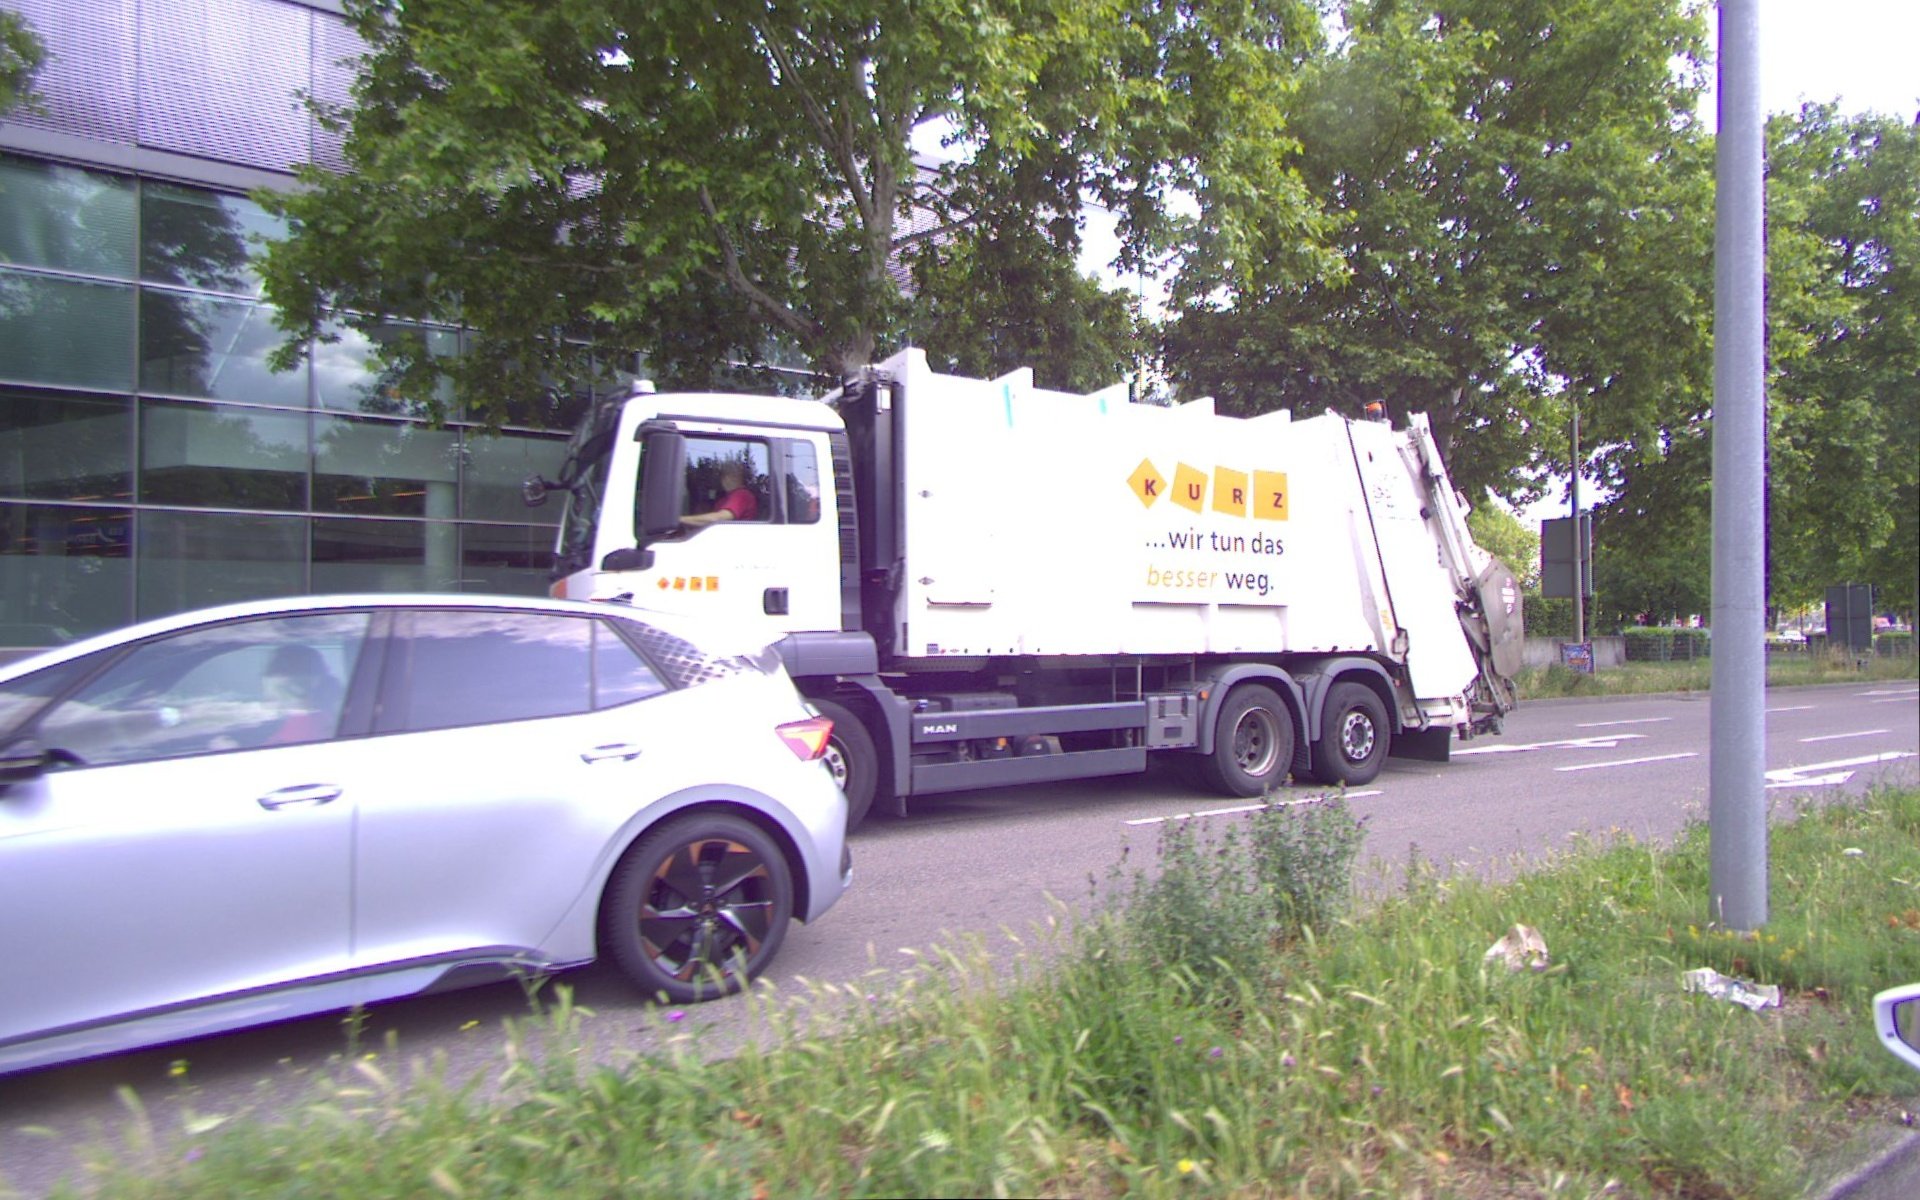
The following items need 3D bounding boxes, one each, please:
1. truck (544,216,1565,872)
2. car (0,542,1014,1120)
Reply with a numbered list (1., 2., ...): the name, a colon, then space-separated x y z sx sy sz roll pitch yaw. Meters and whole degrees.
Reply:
1. truck: 1.567 -0.211 9.648 10.036 3.939 2.639 1 -2 -29
2. car: -1.991 0.709 4.140 4.184 1.573 1.736 2 -4 -31
